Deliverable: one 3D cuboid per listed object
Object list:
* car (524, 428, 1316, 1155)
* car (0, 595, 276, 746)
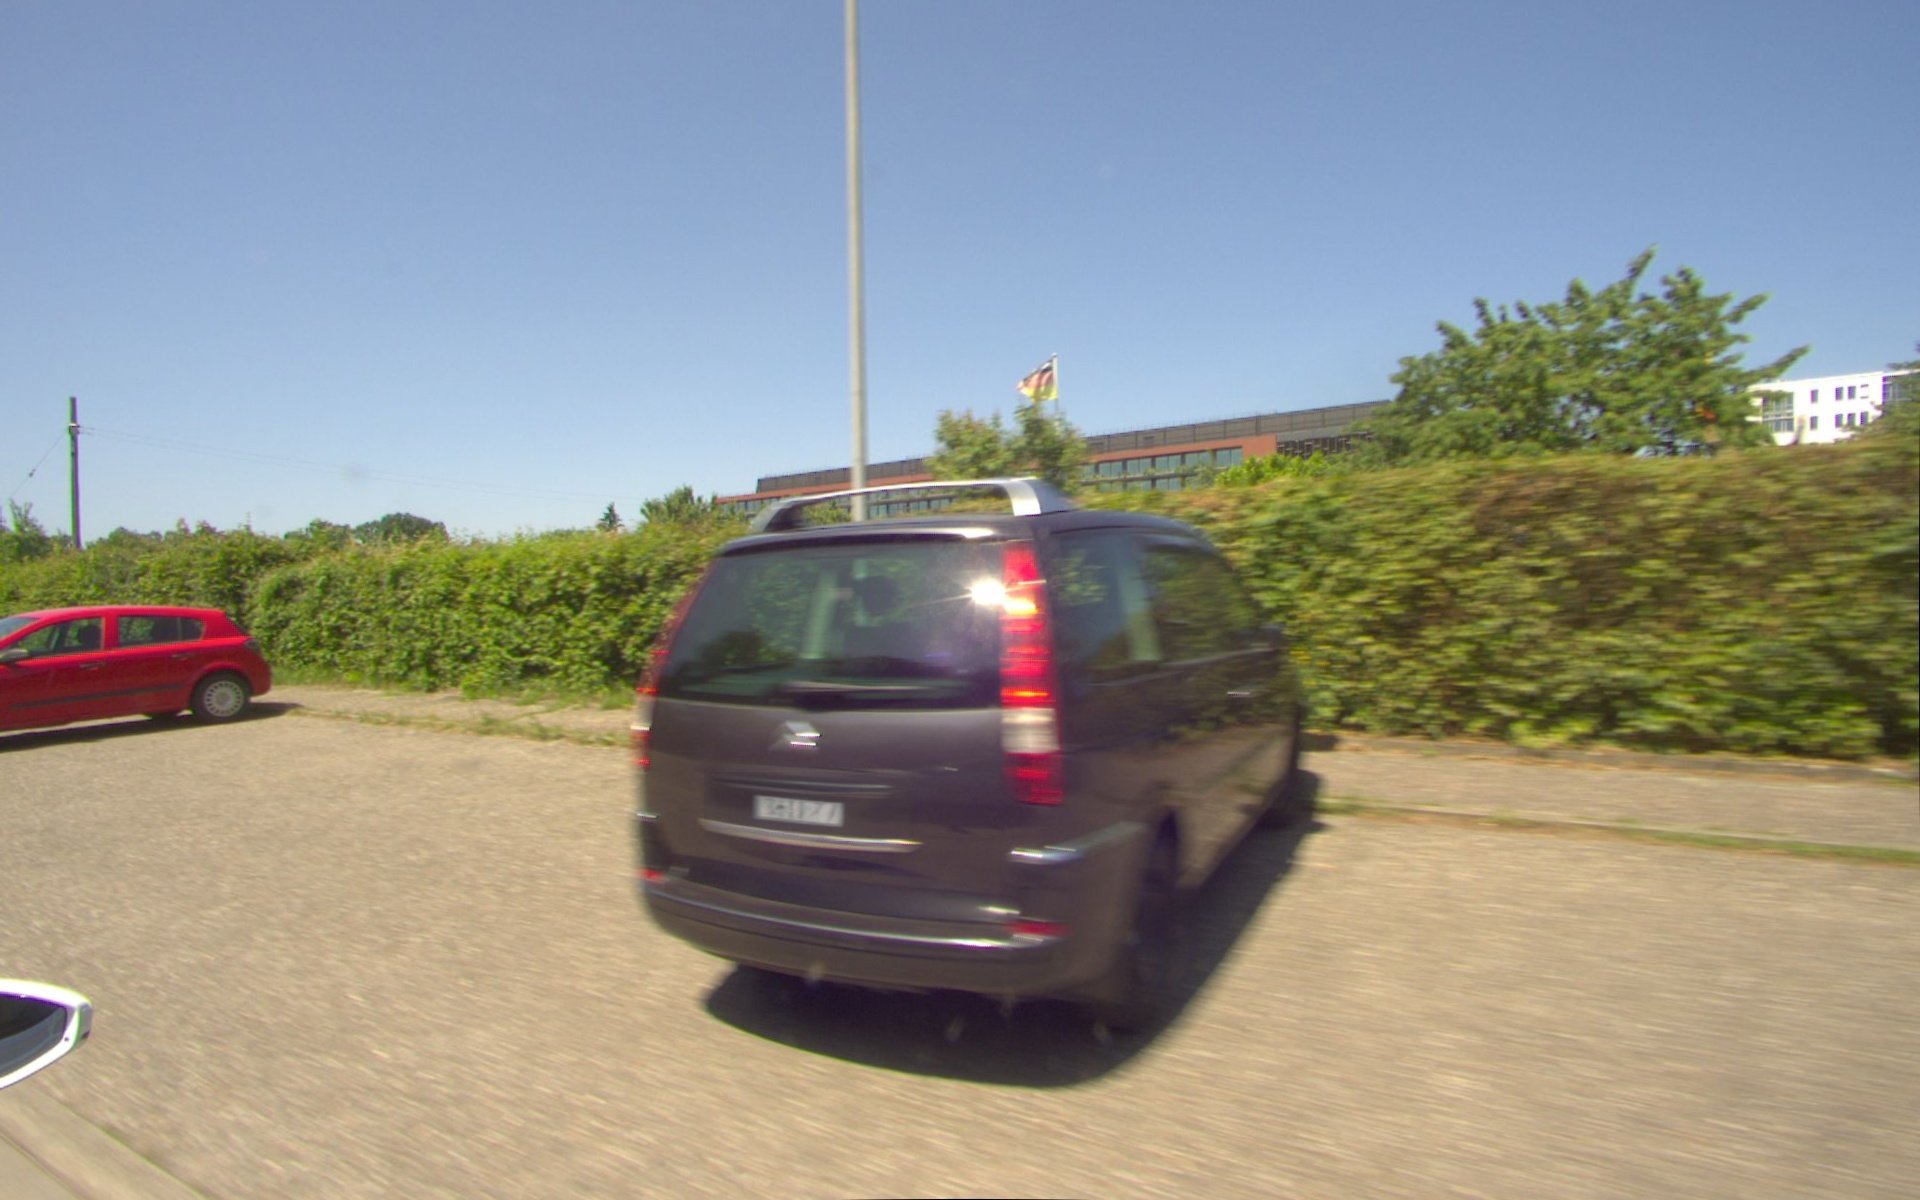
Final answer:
[{"bbox_3d":[0.427,0.413,4.923,1.922,1.829,4.447,-1,2,27],"label":"car"},{"bbox_3d":[-10.461,0.762,11.349,1.807,1.454,4.047,0,3,28],"label":"car"}]
